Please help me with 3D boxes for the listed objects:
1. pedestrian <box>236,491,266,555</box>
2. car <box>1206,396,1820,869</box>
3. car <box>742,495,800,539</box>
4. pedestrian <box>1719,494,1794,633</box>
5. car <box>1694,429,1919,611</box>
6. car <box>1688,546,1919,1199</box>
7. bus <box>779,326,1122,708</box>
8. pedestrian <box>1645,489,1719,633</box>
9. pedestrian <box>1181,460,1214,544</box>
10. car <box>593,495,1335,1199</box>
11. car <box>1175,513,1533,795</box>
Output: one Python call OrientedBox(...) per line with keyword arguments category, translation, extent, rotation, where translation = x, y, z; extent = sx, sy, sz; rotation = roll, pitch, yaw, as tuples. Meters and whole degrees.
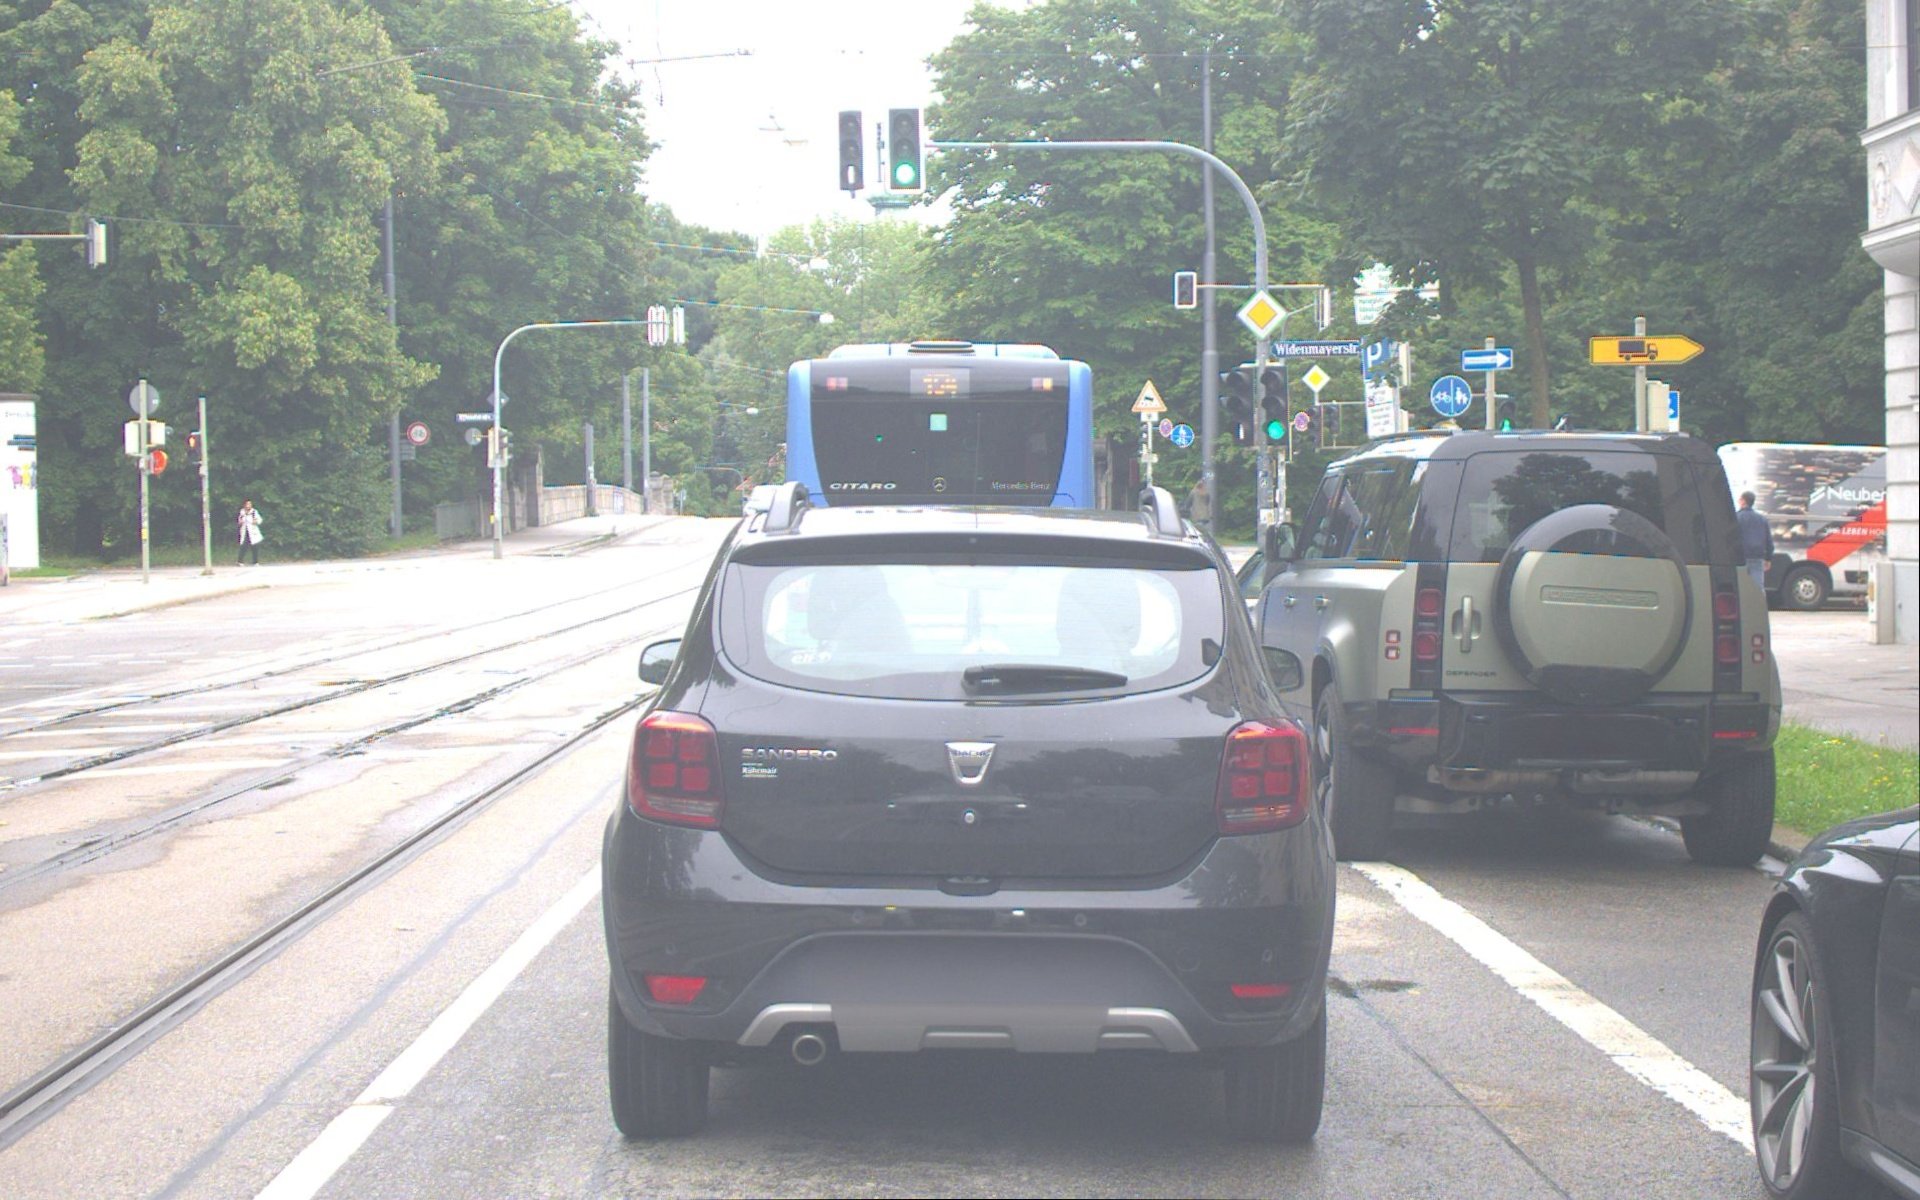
OrientedBox(category="pedestrian", translation=(-16.608, -1.803, 80.505), extent=(0.532, 1.496, 0.588), rotation=(1, 1, 4))
OrientedBox(category="car", translation=(2.438, 0.091, 16.480), extent=(1.914, 1.899, 4.809), rotation=(1, 1, -3))
OrientedBox(category="car", translation=(-6.113, -2.677, 111.614), extent=(1.787, 1.365, 3.400), rotation=(1, 1, -2))
OrientedBox(category="pedestrian", translation=(10.073, -0.462, 43.495), extent=(0.705, 1.726, 0.843), rotation=(1, 1, -1))
OrientedBox(category="car", translation=(13.936, -1.165, 51.500), extent=(5.295, 2.603, 2.231), rotation=(1, 1, -3))
OrientedBox(category="car", translation=(2.641, 0.643, 5.840), extent=(1.716, 1.421, 4.603), rotation=(1, 1, -1))
OrientedBox(category="bus", translation=(-0.221, -0.726, 30.896), extent=(2.678, 2.987, 6.962), rotation=(1, 1, -2))
OrientedBox(category="pedestrian", translation=(9.237, -0.507, 44.004), extent=(0.705, 1.810, 0.870), rotation=(1, 1, -1))
OrientedBox(category="pedestrian", translation=(5.977, -2.463, 86.487), extent=(0.762, 2.109, 0.853), rotation=(-1, 2, 0))
OrientedBox(category="car", translation=(-0.027, 0.528, 9.324), extent=(1.600, 1.551, 3.525), rotation=(1, 1, -1))
OrientedBox(category="car", translation=(2.395, 0.269, 21.892), extent=(1.714, 1.586, 4.327), rotation=(1, 1, -1))
